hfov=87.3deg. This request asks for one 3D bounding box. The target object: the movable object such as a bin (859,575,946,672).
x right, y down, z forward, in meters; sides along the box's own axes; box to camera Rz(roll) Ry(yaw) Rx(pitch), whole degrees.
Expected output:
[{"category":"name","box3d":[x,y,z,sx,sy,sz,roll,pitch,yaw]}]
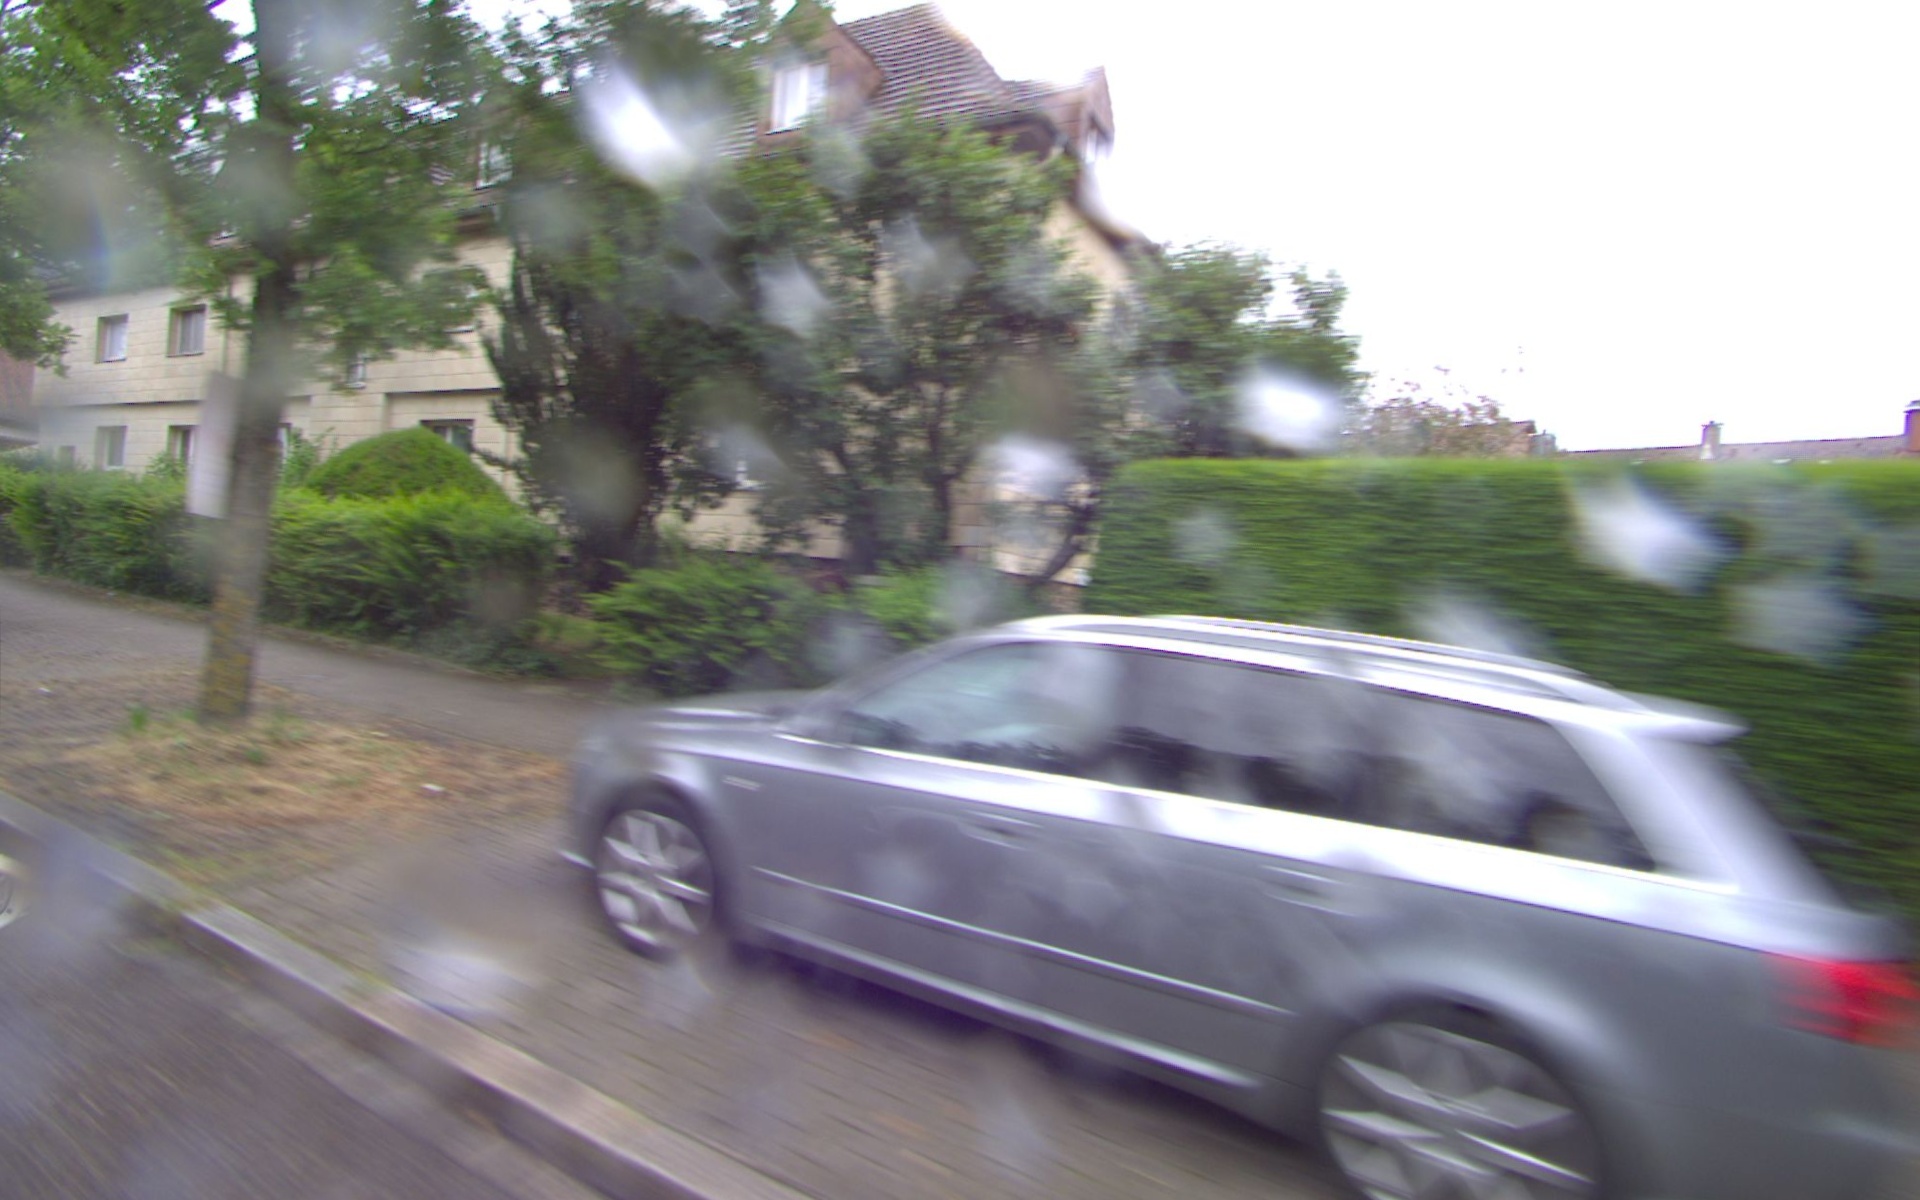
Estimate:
[{"category":"movable object such as a bin","box3d":[-0.727,0.315,12.854,0.690,1.135,0.789,7,0,28]}]

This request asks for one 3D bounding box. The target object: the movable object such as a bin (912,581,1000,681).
[{"category":"movable object such as a bin","box3d":[-0.045,0.392,12.504,0.690,1.135,0.789,7,0,28]}]

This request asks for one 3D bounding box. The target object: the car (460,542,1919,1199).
[{"category":"car","box3d":[0.350,0.697,3.719,4.422,1.408,1.689,6,2,29]}]
